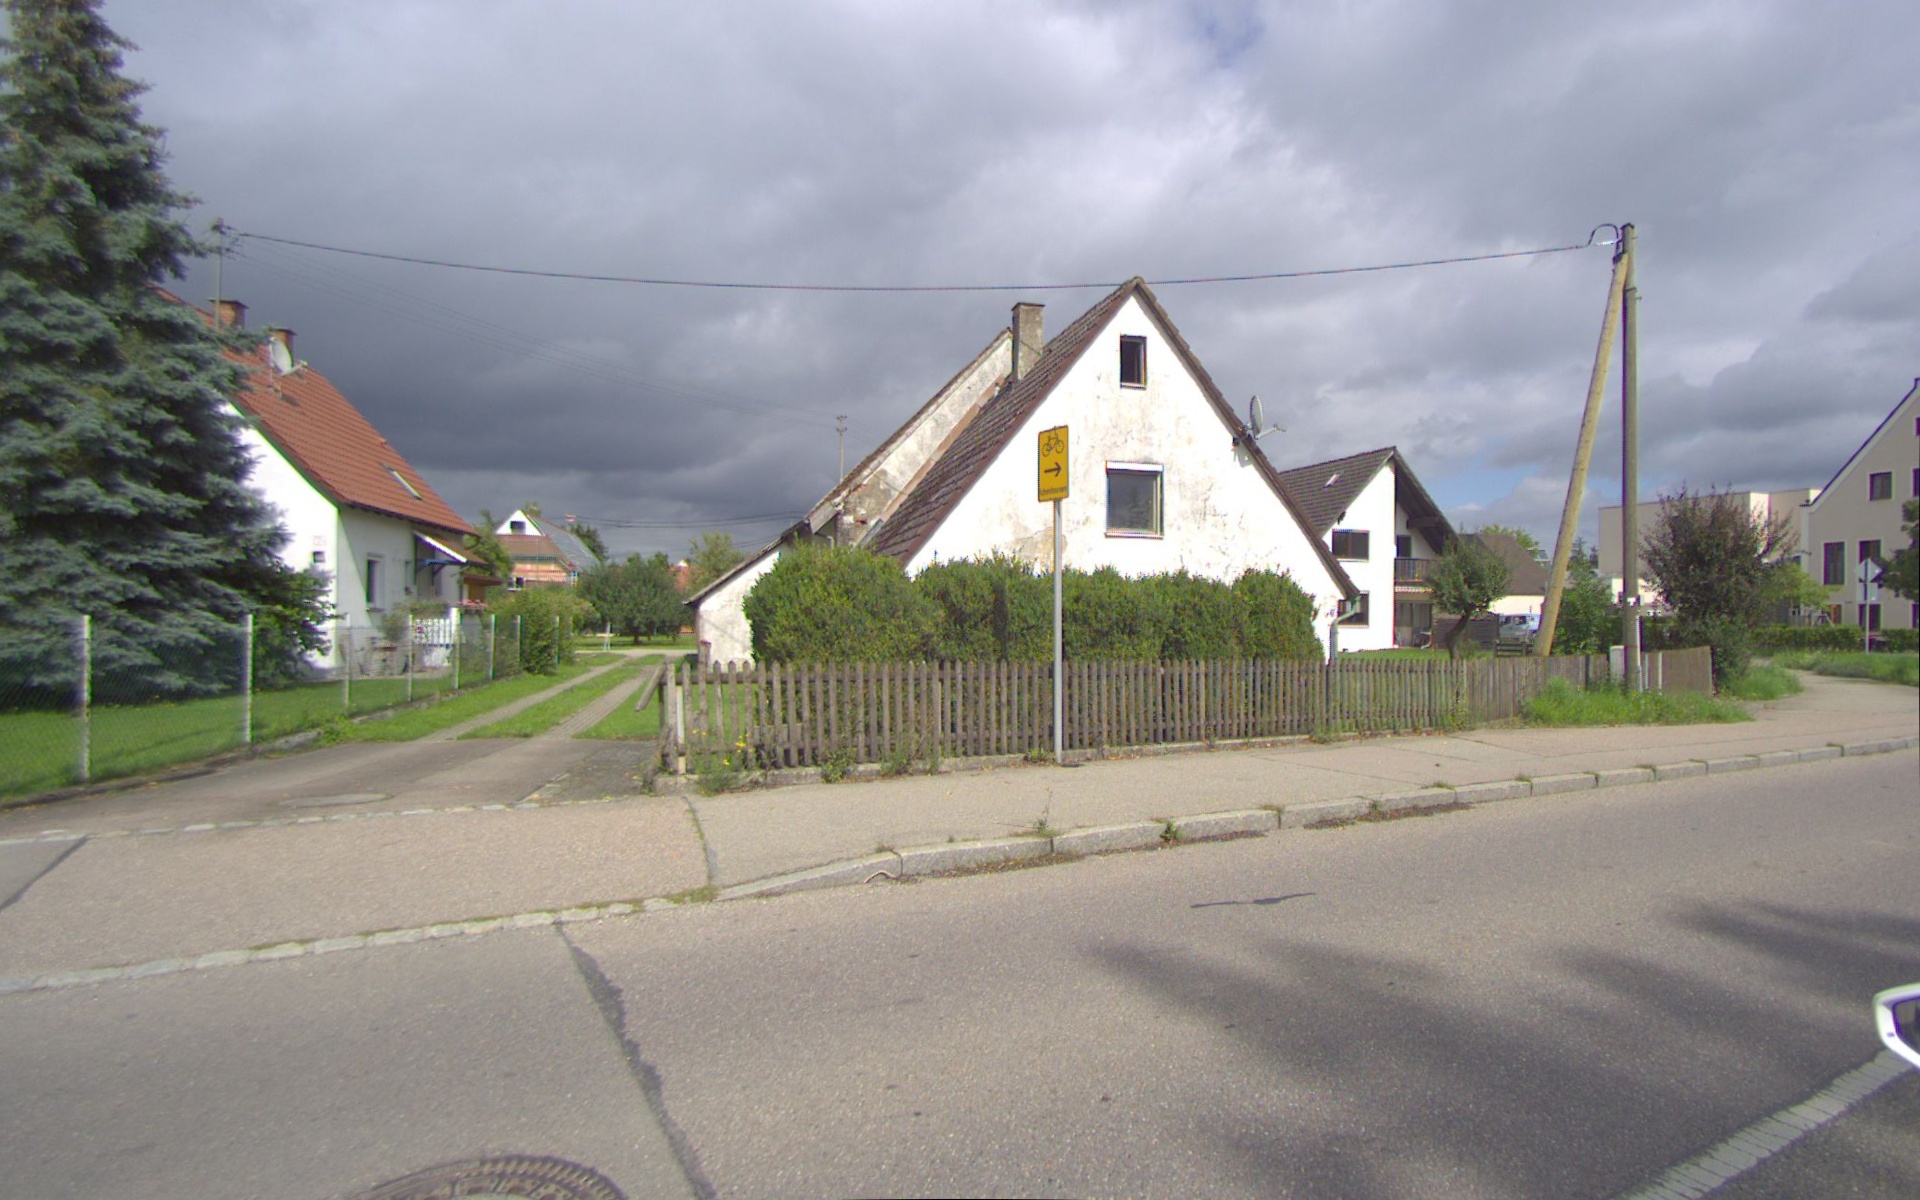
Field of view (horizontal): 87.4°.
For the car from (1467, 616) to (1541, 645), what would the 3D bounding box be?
[{"bbox_3d":[39.477,2.246,72.952,4.822,2.040,1.992,1,-1,-18],"label":"car"}]
